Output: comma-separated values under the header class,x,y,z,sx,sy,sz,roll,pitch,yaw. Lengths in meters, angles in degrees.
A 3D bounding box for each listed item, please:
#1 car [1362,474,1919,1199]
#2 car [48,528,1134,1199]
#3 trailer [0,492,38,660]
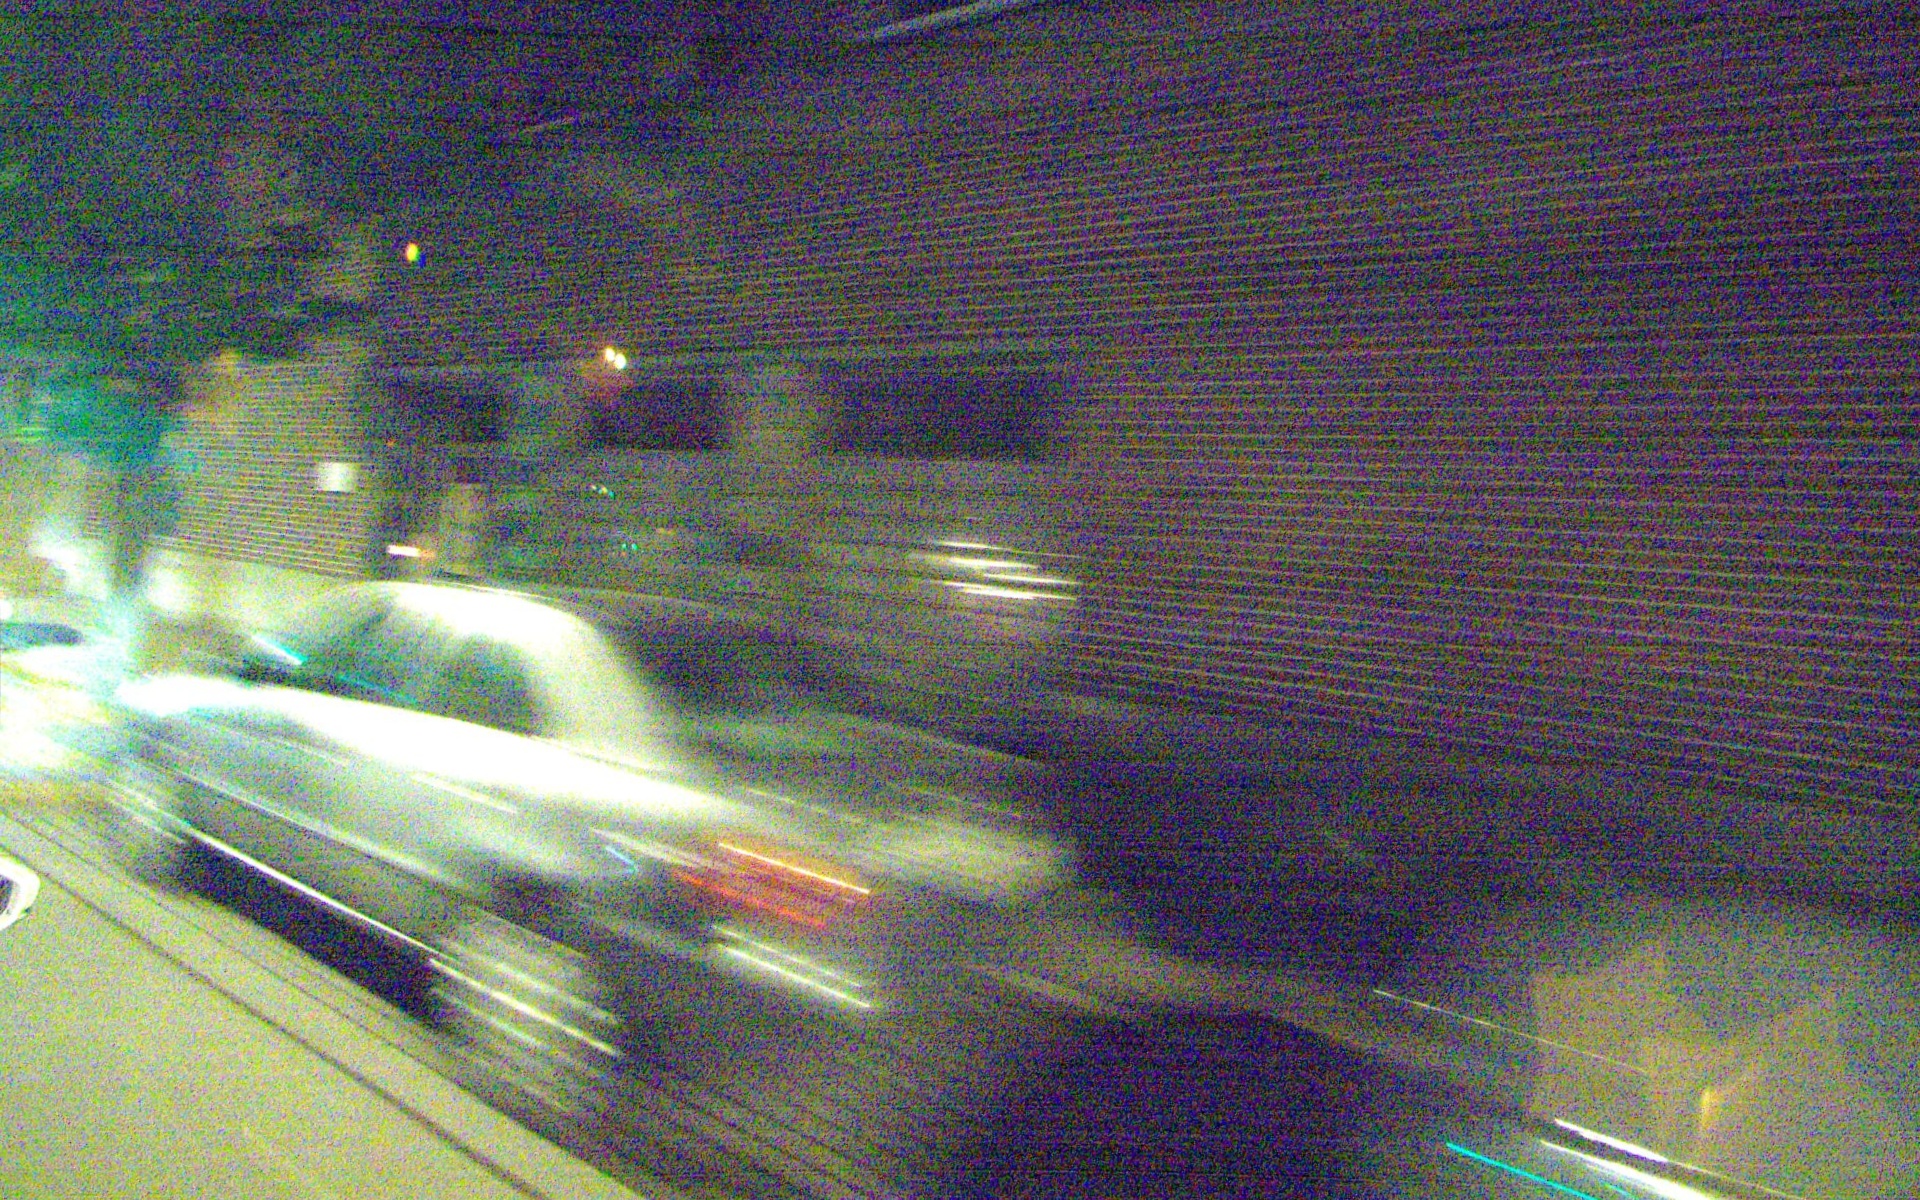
class,x,y,z,sx,sy,sz,roll,pitch,yaw
car,2.907,0.971,1.188,4.346,1.796,1.778,7,1,29
car,-1.730,0.620,4.056,4.350,1.376,1.776,7,1,33
trailer,-10.487,-0.435,9.669,3.676,1.513,1.601,6,-1,36
